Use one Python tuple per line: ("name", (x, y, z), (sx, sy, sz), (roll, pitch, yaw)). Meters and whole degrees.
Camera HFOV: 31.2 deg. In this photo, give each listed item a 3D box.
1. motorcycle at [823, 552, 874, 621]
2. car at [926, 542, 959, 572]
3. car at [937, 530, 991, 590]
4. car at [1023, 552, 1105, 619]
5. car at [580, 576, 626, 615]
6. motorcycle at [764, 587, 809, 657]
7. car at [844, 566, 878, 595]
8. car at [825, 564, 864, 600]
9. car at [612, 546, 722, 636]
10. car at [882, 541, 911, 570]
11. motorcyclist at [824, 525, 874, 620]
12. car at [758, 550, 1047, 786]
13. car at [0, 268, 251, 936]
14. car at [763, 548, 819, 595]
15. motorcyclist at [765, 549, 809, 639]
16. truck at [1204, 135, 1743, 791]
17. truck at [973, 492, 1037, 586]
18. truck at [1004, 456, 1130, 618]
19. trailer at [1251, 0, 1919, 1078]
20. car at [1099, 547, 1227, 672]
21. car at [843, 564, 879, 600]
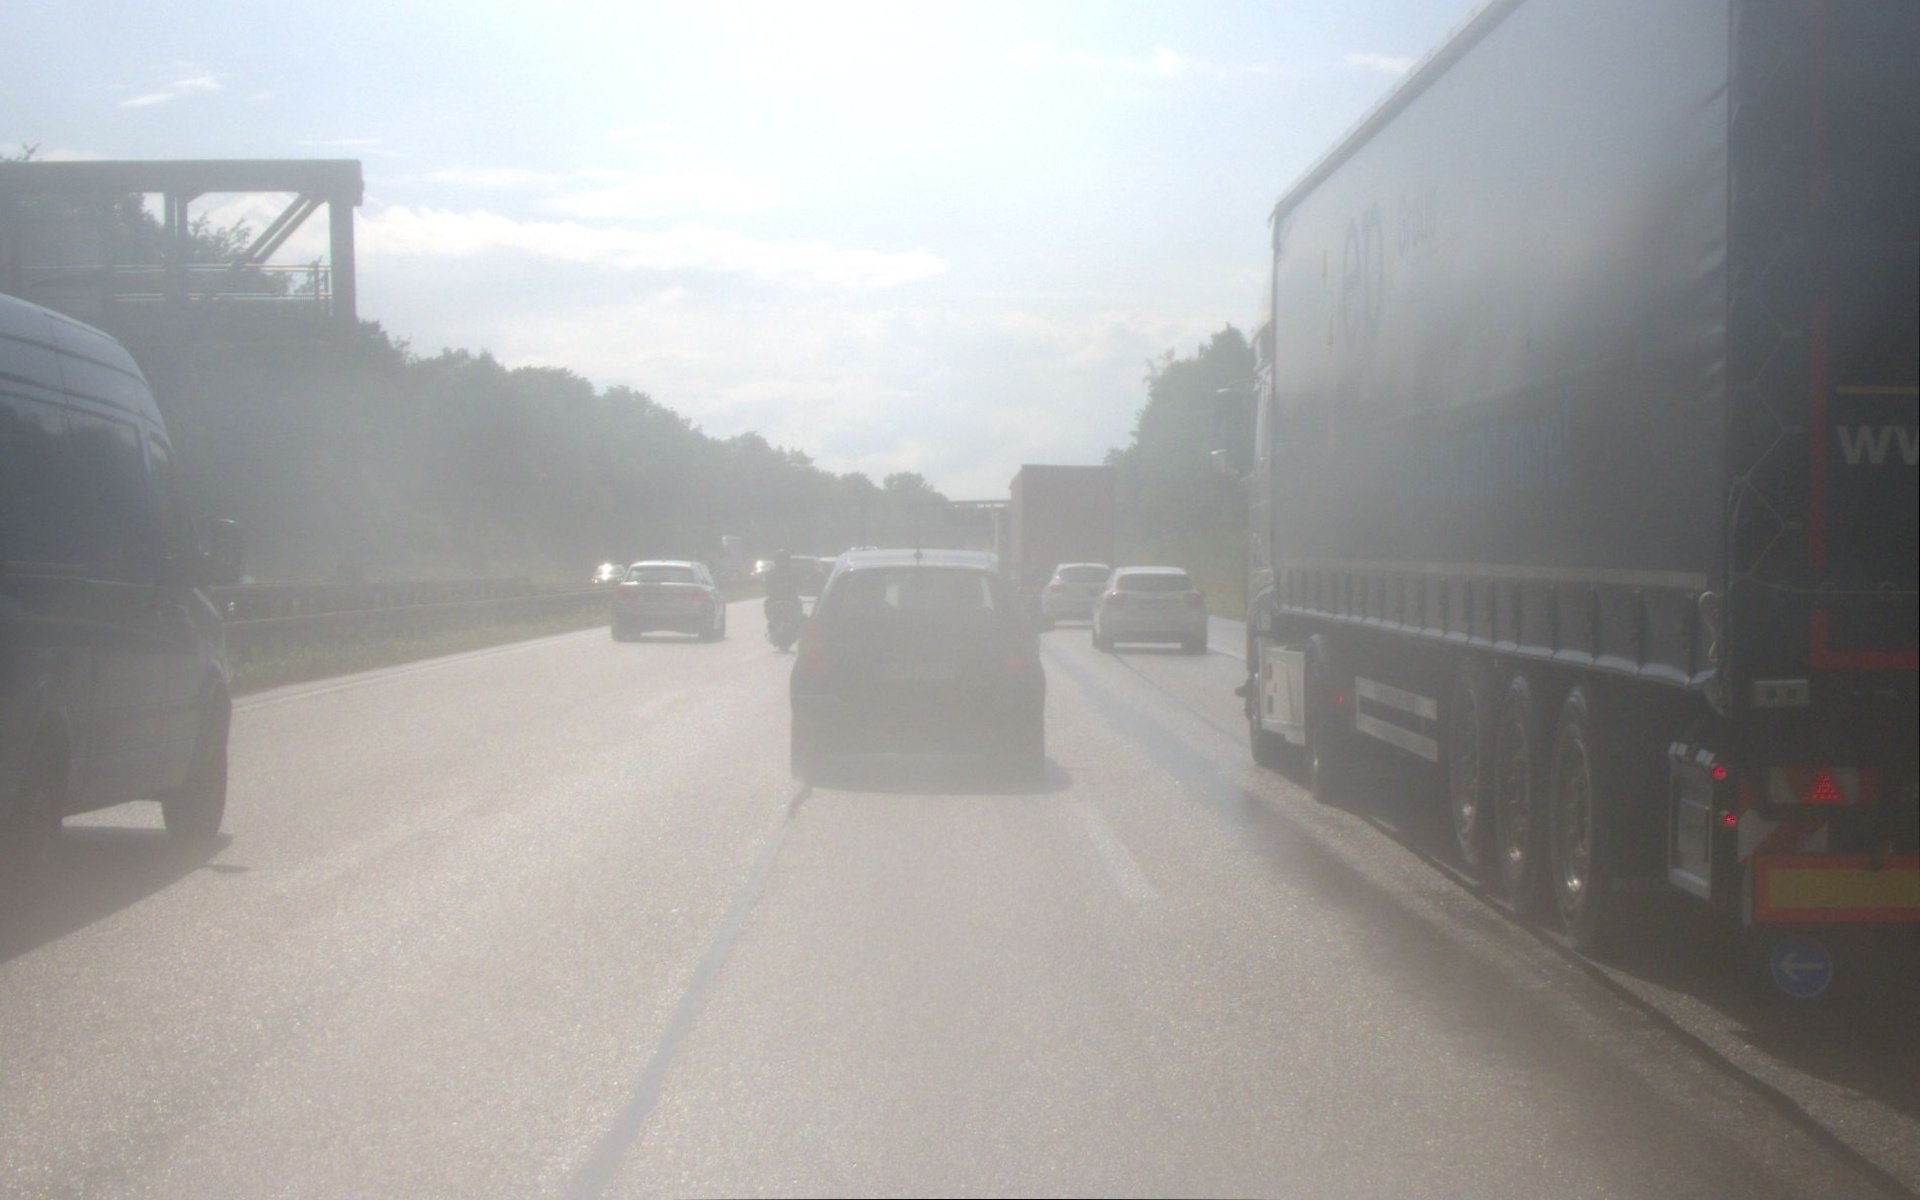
("motorcycle", (-2.092, -0.260, 64.360), (0.819, 1.258, 2.118), (1, 1, -5))
("car", (-0.931, -2.219, 176.934), (1.631, 1.485, 3.437), (1, 1, -1))
("car", (0.120, -1.302, 113.344), (1.675, 1.929, 3.773), (1, 1, -1))
("car", (2.348, -0.340, 78.375), (1.675, 1.485, 3.437), (1, 1, -1))
("car", (-18.903, -0.238, 182.024), (1.993, 2.007, 4.733), (1, 0, -1))
("motorcycle", (-2.816, 0.353, 55.706), (0.676, 1.083, 1.982), (1, 1, -4))
("car", (-5.098, -1.001, 177.096), (1.675, 1.485, 3.437), (1, 1, -1))
("car", (-5.083, -0.803, 151.464), (1.675, 1.591, 3.437), (1, 1, -1))
("car", (-5.407, -0.187, 63.868), (1.758, 1.589, 4.331), (1, 1, -1))
("car", (-4.477, -3.123, 240.761), (1.993, 2.007, 4.000), (1, 0, -1))
("motorcyclist", (-2.083, -0.517, 64.282), (0.821, 1.755, 1.390), (1, 0, -5))
("car", (-0.428, 0.428, 25.115), (1.915, 1.560, 4.314), (1, 1, -1))
("car", (-4.855, -0.023, 16.008), (2.015, 2.639, 5.777), (1, 1, -1))
("car", (-6.004, -1.036, 122.509), (1.893, 1.622, 4.195), (1, 1, -1))
("motorcyclist", (-2.801, -0.095, 55.684), (0.670, 1.437, 1.020), (1, 0, -4))
("truck", (3.616, -0.924, 25.748), (3.052, 4.310, 5.886), (1, 0, 0))
("truck", (2.295, -3.101, 178.891), (2.882, 4.671, 12.659), (1, 0, -1))
("truck", (2.984, -1.763, 98.569), (3.202, 4.389, 9.432), (1, 1, 0))
("trailer", (3.692, -0.809, 17.174), (3.088, 4.298, 14.106), (1, 1, -1))
("car", (3.383, 0.142, 57.999), (1.849, 2.007, 4.087), (1, 0, 0))
("car", (-5.641, -1.048, 196.643), (1.993, 2.007, 4.000), (1, 0, -1))
